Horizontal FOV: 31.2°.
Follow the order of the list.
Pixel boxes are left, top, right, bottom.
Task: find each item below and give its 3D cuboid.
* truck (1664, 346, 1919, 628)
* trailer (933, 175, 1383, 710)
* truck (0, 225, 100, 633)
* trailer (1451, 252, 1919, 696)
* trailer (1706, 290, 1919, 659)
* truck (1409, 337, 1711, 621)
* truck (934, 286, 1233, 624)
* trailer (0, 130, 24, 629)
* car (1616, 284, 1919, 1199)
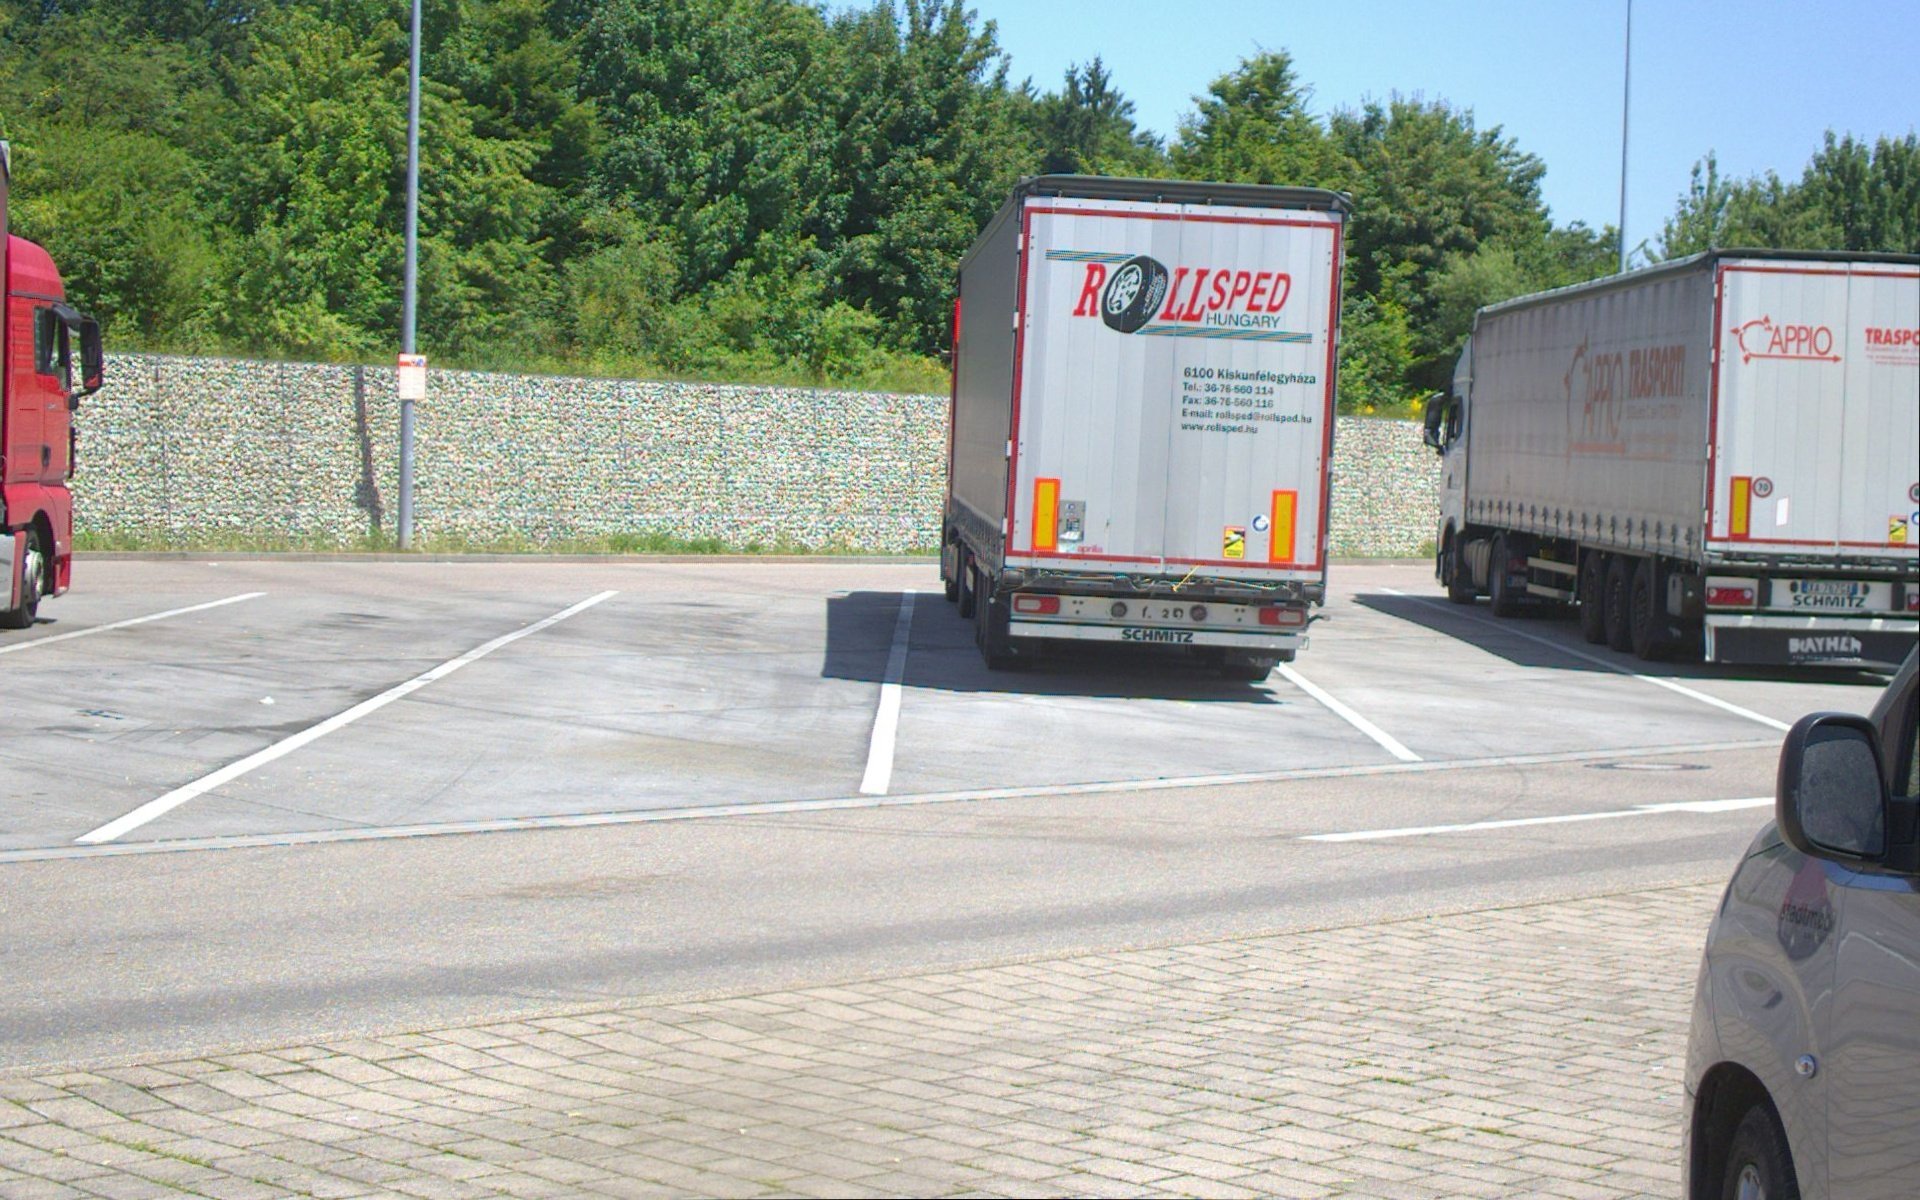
[{"bbox_3d":[11.702,-1.577,46.768,2.803,3.509,5.900,2,3,-1],"label":"truck"},{"bbox_3d":[1.460,-1.591,33.595,3.133,3.976,14.397,2,3,-1],"label":"trailer"},{"bbox_3d":[-9.226,-1.443,28.120,2.851,3.316,5.900,2,3,-1],"label":"truck"},{"bbox_3d":[8.127,-1.520,38.707,2.811,3.976,14.396,2,3,-1],"label":"trailer"},{"bbox_3d":[11.768,-1.453,39.758,2.811,3.976,14.396,2,3,-1],"label":"trailer"},{"bbox_3d":[8.035,-1.696,46.807,2.862,3.509,5.900,2,3,-1],"label":"truck"},{"bbox_3d":[1.324,-1.733,40.487,3.103,3.554,5.900,2,3,-1],"label":"truck"},{"bbox_3d":[-9.183,-1.487,21.546,2.791,4.071,14.133,2,3,-1],"label":"trailer"},{"bbox_3d":[2.159,0.586,3.826,1.869,1.857,4.177,2,2,-2],"label":"car"}]
